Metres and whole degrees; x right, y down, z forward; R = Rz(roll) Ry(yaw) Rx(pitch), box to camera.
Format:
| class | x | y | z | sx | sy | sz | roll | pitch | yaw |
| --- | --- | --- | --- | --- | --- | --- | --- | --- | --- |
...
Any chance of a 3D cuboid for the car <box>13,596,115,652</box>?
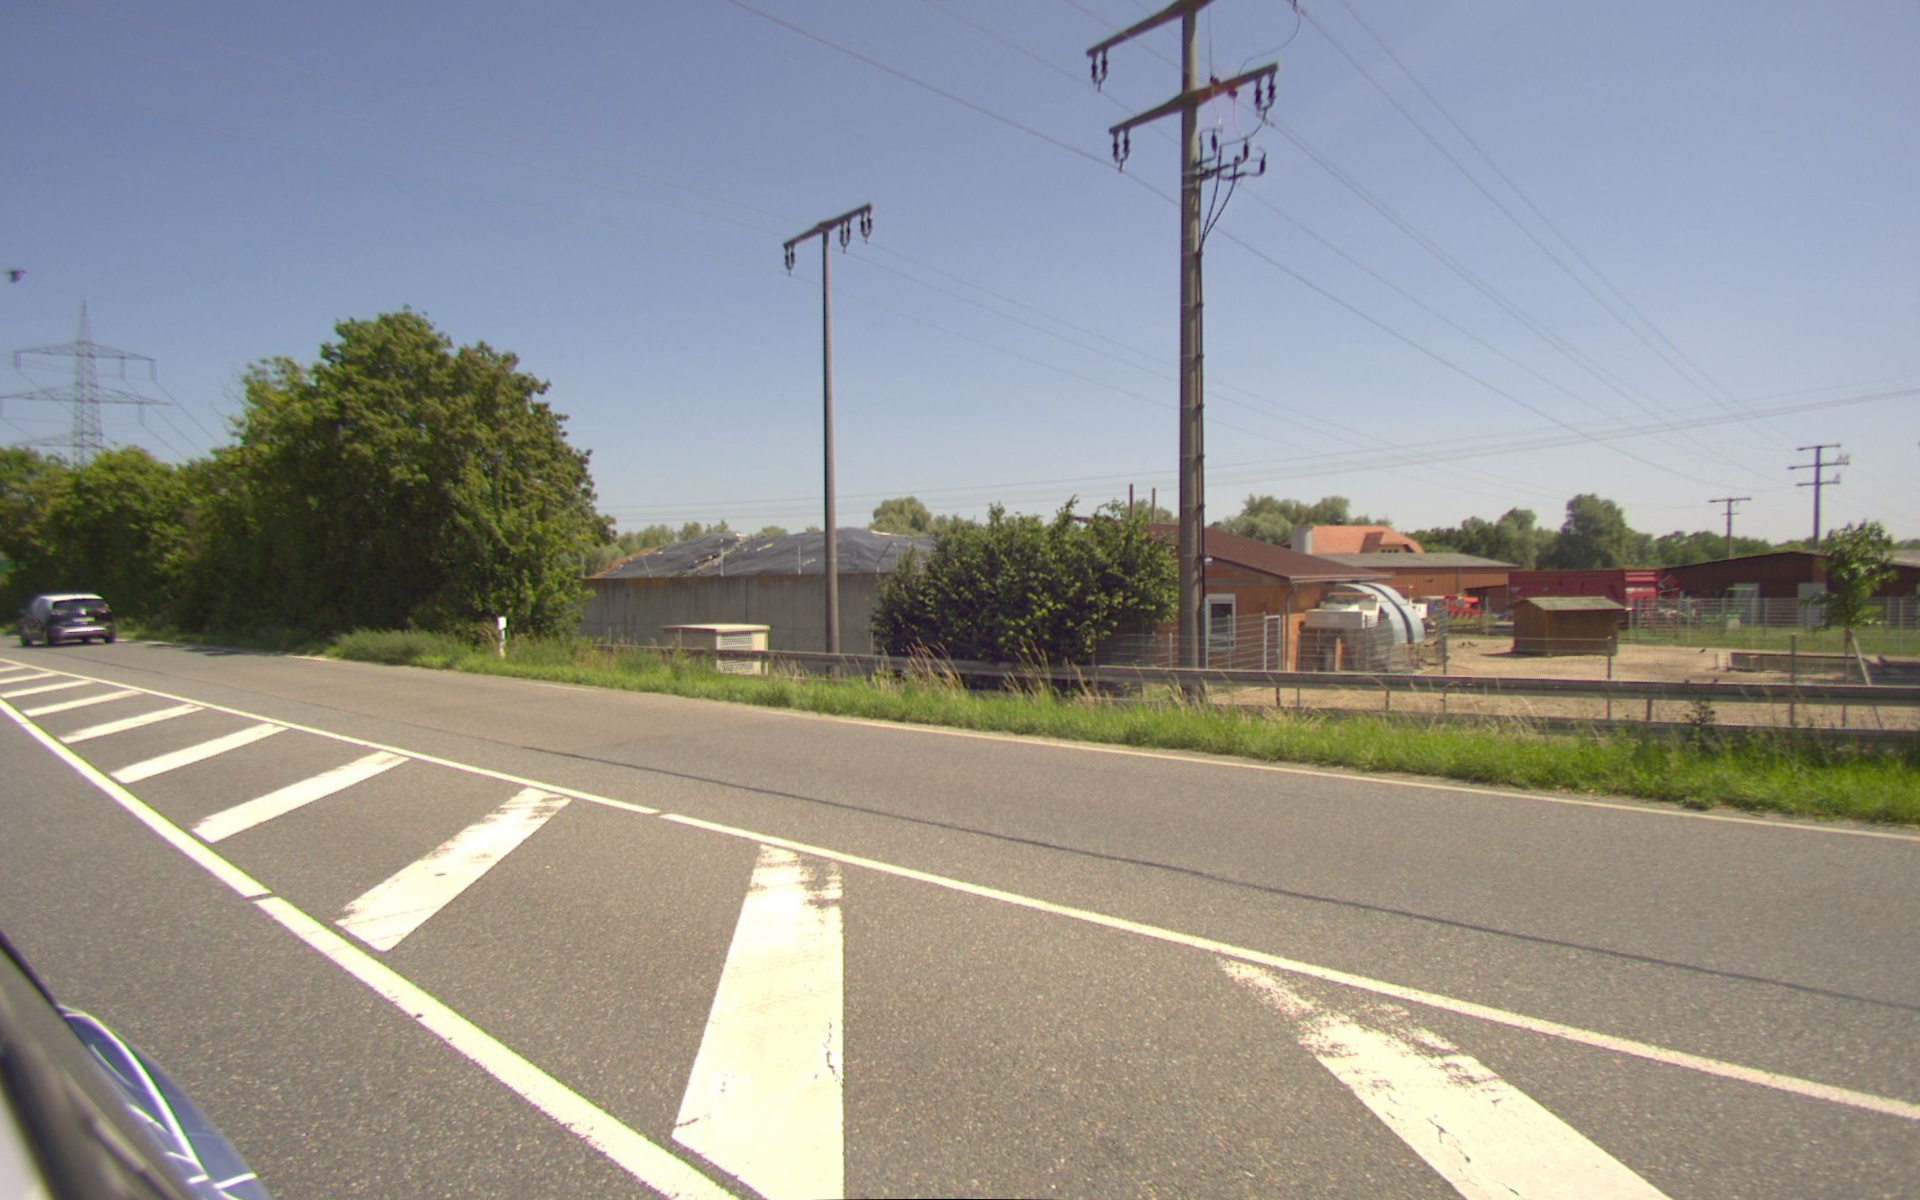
| class | x | y | z | sx | sy | sz | roll | pitch | yaw |
| --- | --- | --- | --- | --- | --- | --- | --- | --- | --- |
| car | -28.064 | 0.715 | 31.664 | 3.953 | 1.602 | 1.716 | 0 | 2 | 39 |
